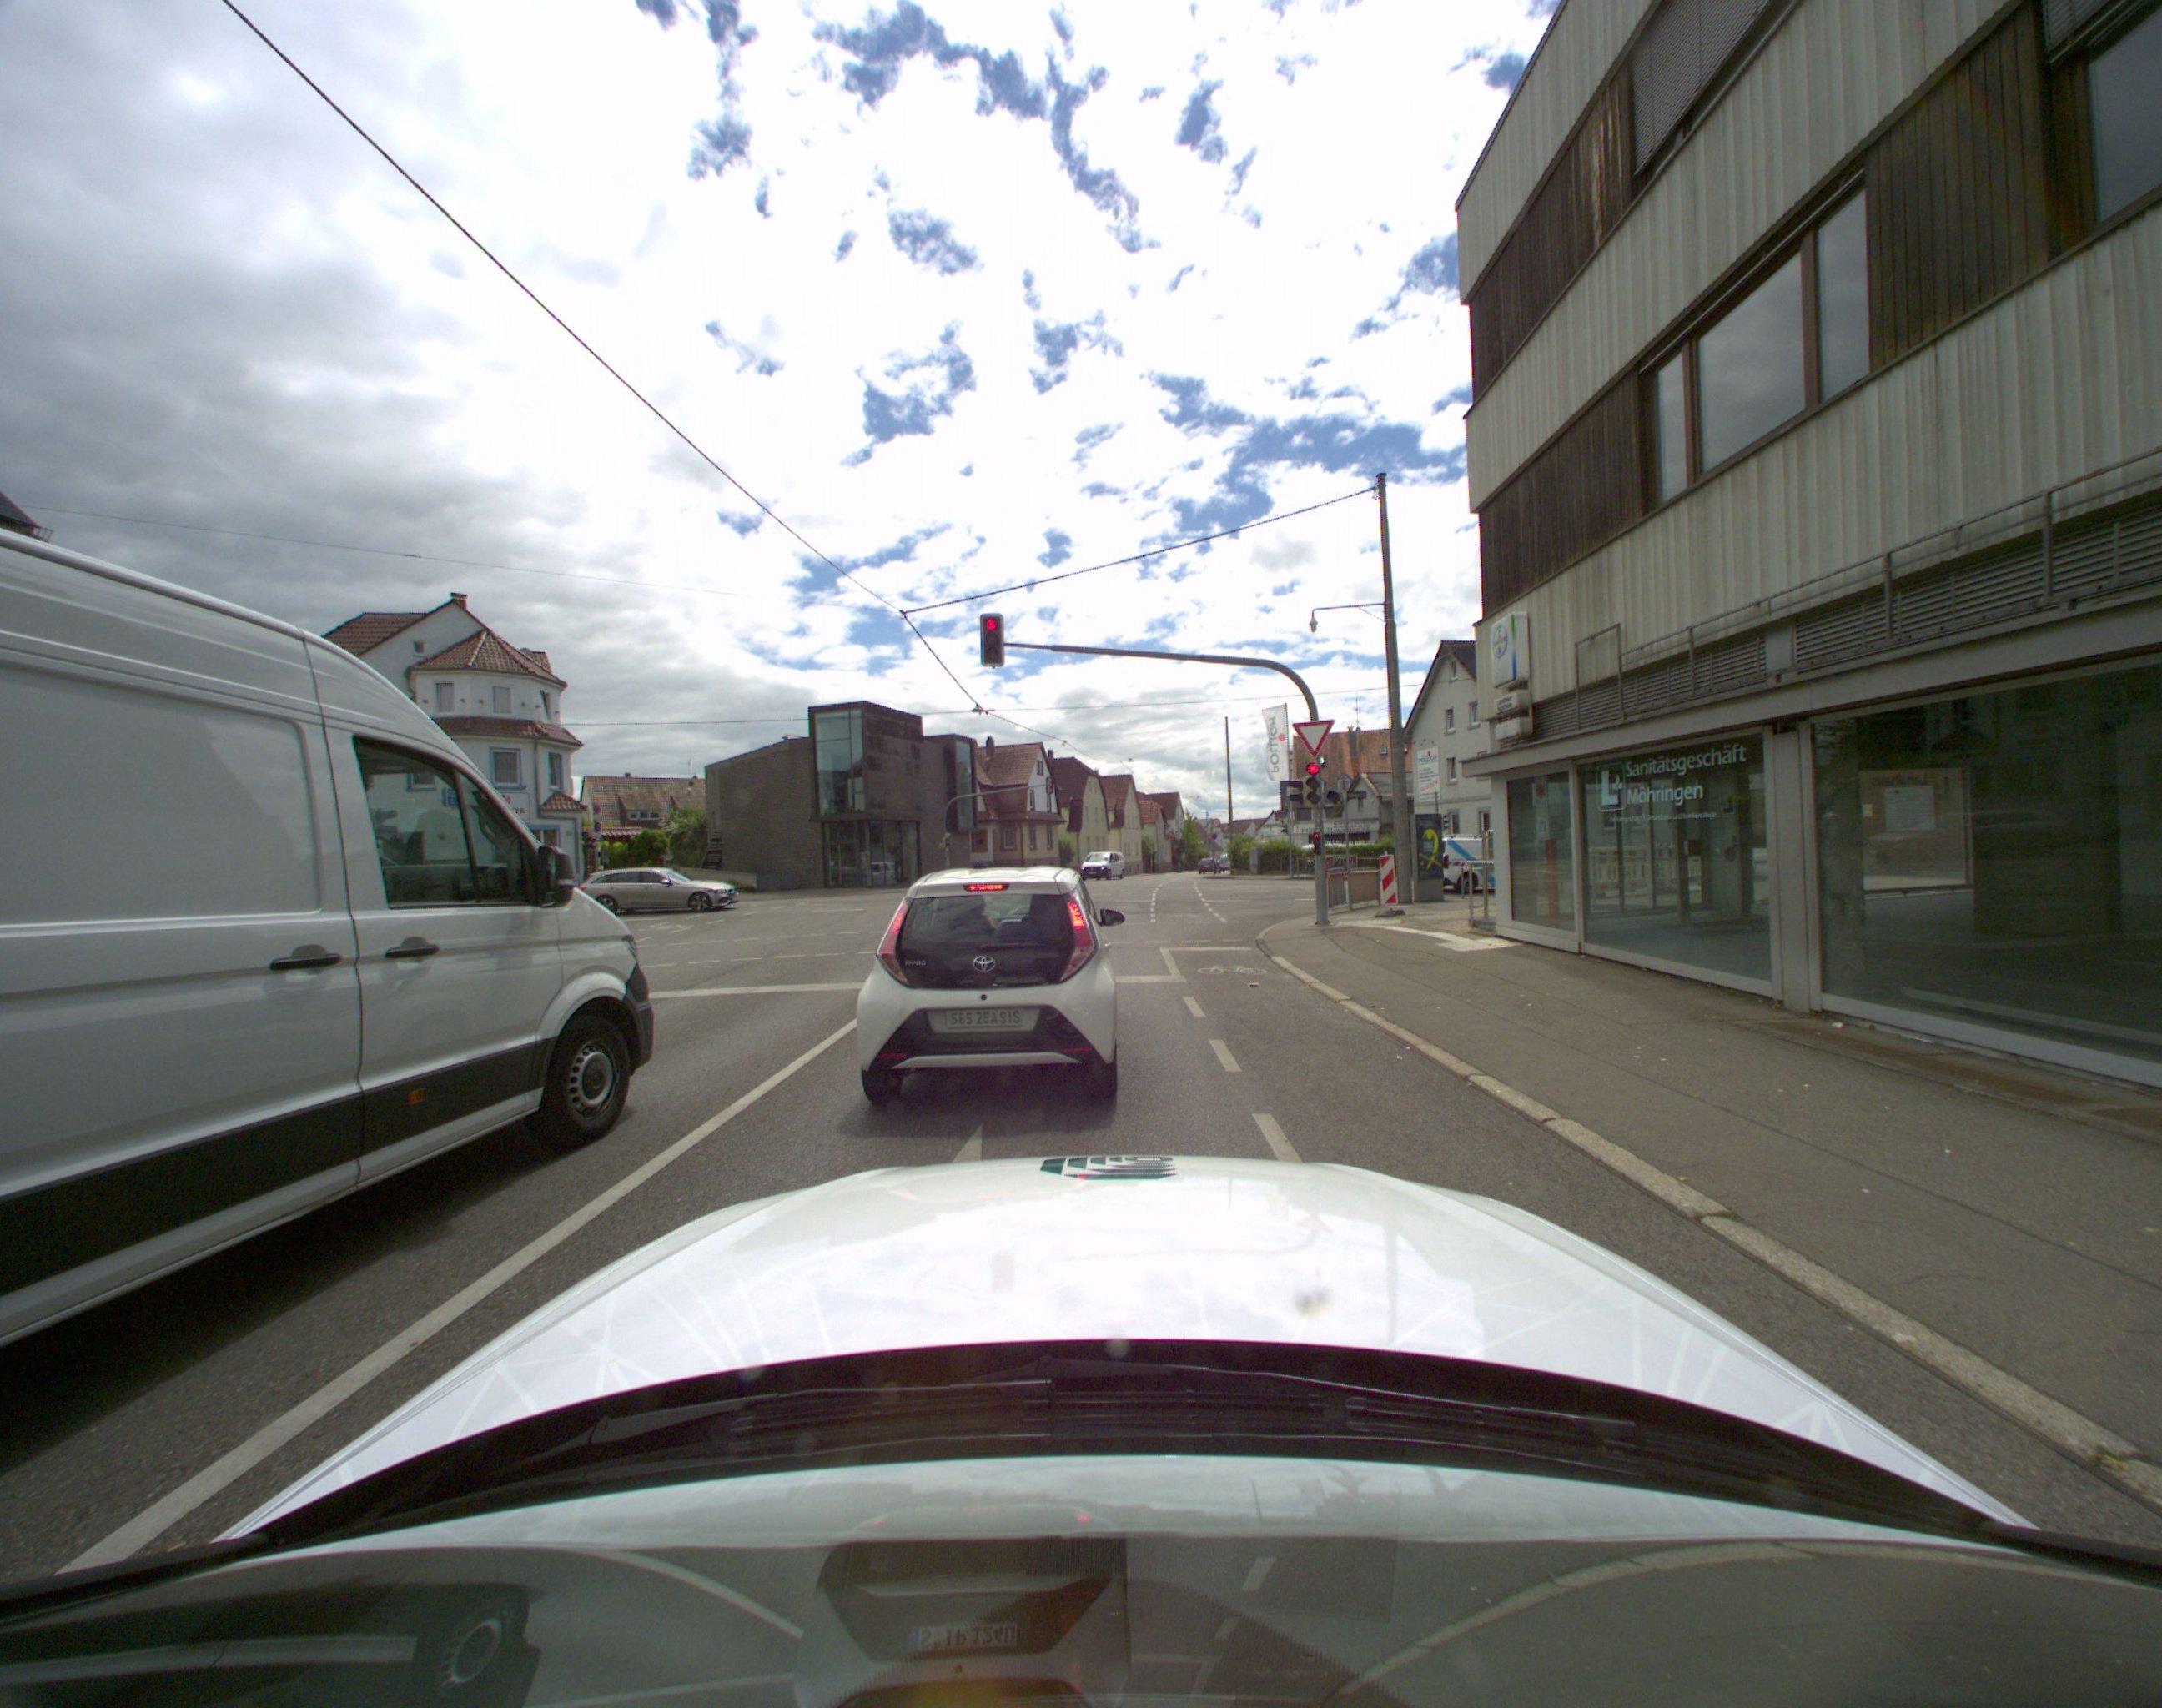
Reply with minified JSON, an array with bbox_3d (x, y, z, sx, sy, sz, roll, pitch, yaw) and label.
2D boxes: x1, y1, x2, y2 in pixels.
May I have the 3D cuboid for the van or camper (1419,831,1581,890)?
[{"bbox_3d":[15.318,0.223,29.892,5.113,2.077,1.995,0,0,-8],"label":"van or camper"}]

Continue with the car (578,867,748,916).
[{"bbox_3d":[-13.393,1.177,26.330,4.494,1.456,1.893,-1,0,-6],"label":"car"}]

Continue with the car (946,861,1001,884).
[{"bbox_3d":[-7.826,1.367,59.228,3.589,1.605,1.697,-1,0,13],"label":"car"}]

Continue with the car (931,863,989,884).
[{"bbox_3d":[-8.474,1.341,57.119,3.589,1.419,1.697,-1,0,13],"label":"car"}]

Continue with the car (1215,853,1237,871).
[{"bbox_3d":[15.689,0.877,87.811,1.979,1.849,4.089,-1,0,15],"label":"car"}]

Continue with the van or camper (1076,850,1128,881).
[{"bbox_3d":[1.463,0.730,53.941,2.099,1.926,5.308,-1,0,17],"label":"van or camper"}]

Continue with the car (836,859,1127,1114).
[{"bbox_3d":[-0.578,0.785,6.426,1.691,1.456,3.298,-1,0,0],"label":"car"}]

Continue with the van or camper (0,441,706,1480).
[{"bbox_3d":[-3.692,0.295,2.653,2.018,2.580,5.922,-3,-1,1],"label":"van or camper"}]

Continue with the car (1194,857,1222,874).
[{"bbox_3d":[11.854,1.061,76.017,1.978,1.486,4.018,-1,0,18],"label":"car"}]
